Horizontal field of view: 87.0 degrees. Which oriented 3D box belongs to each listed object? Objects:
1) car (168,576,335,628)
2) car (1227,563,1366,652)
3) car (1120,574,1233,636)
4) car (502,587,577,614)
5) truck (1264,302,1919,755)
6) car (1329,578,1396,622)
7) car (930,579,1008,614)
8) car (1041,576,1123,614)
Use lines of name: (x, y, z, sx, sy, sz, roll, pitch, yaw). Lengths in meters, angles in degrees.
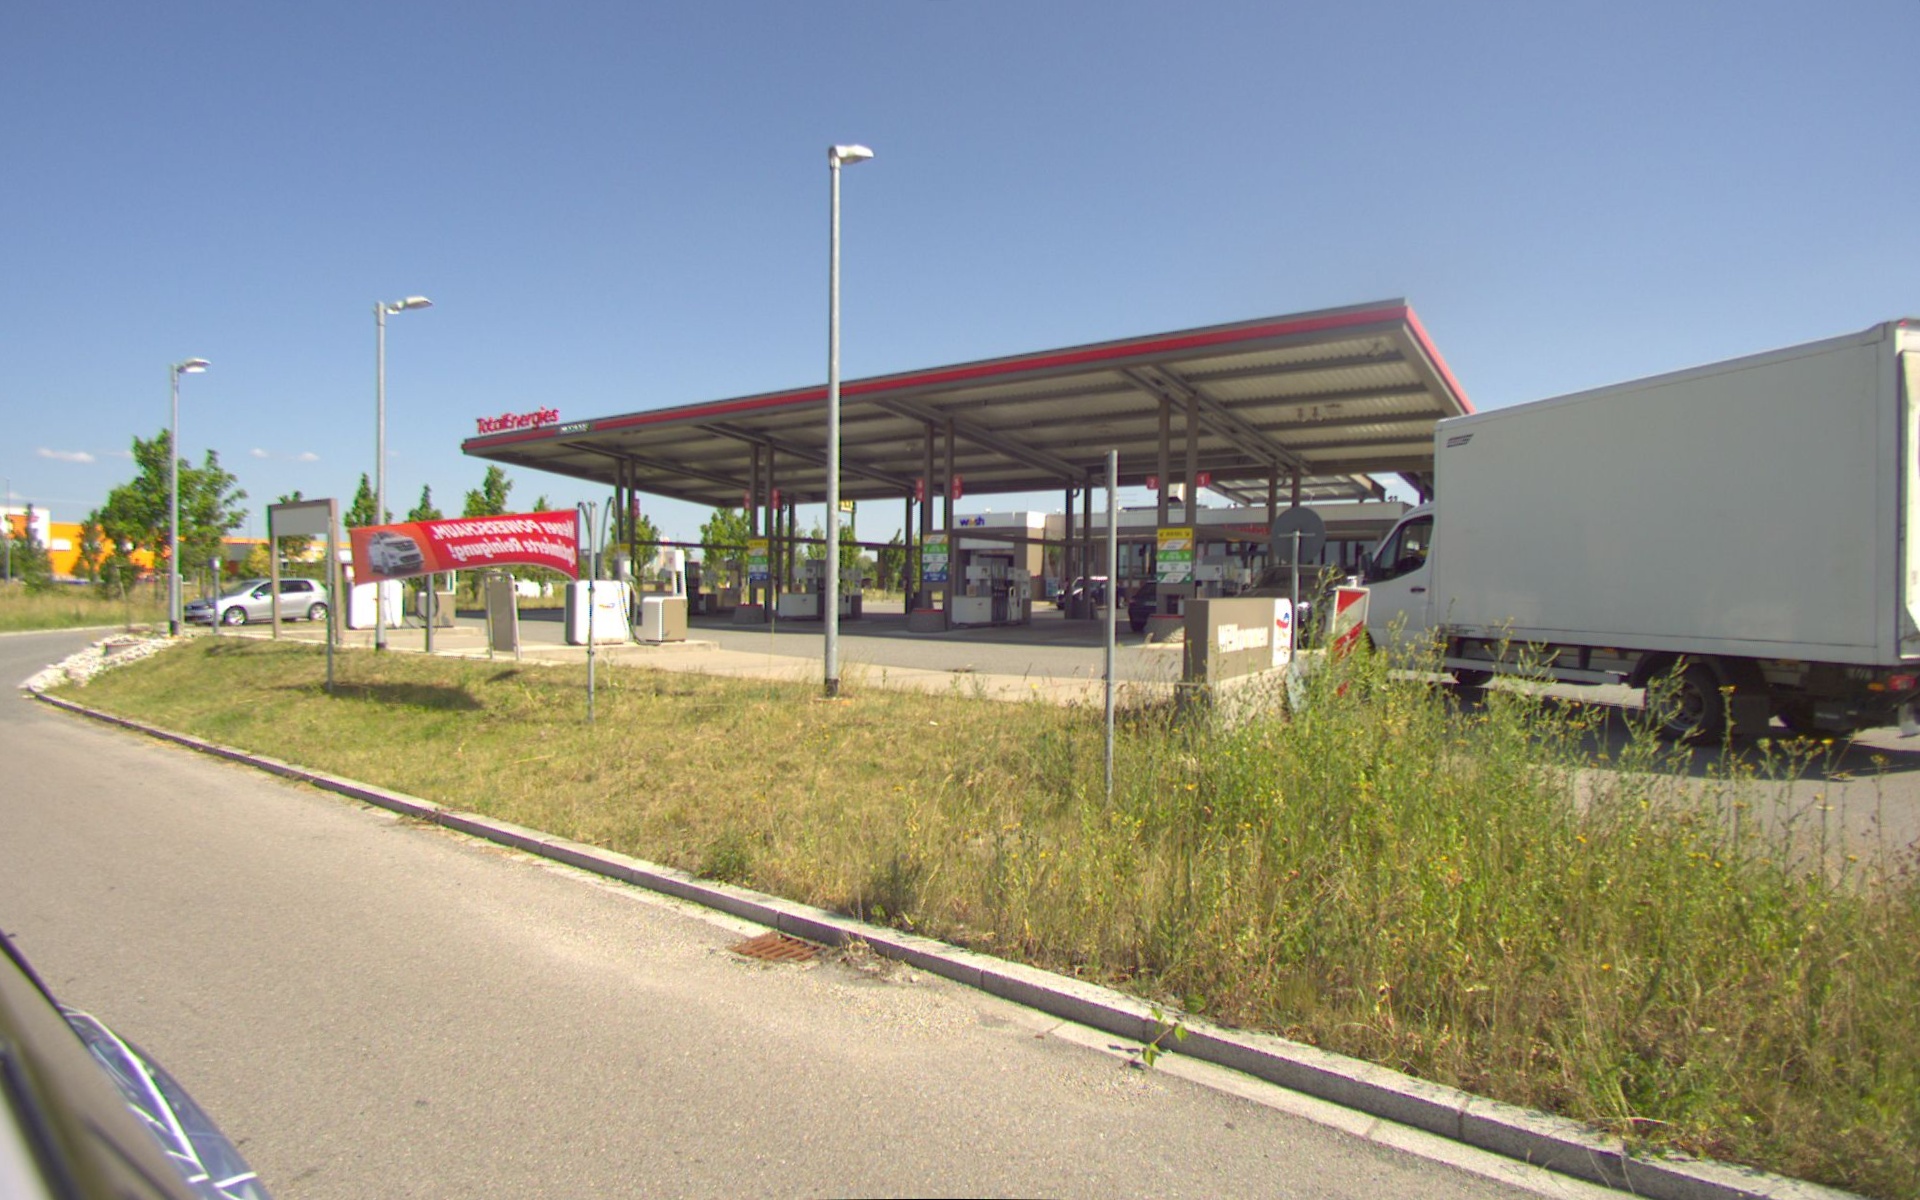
car: (-22.181, 0.115, 31.835, 1.740, 1.479, 3.920, 0, -3, 29)
car: (7.555, 0.143, 22.412, 1.791, 1.771, 4.469, -1, 0, 34)
car: (6.019, 0.129, 27.850, 1.694, 1.586, 3.890, -1, 0, 35)
car: (-32.869, 0.060, 79.193, 1.994, 2.029, 5.196, -1, 0, 33)
truck: (6.763, -0.523, 10.305, 2.598, 3.343, 6.924, -1, 0, -34)
car: (15.028, 0.013, 37.682, 1.789, 1.541, 3.959, -1, 0, 30)
car: (0.461, -0.176, 47.776, 1.792, 1.586, 3.889, -1, 0, 35)
car: (5.357, -0.232, 44.323, 1.697, 1.586, 3.632, -1, 0, 45)
